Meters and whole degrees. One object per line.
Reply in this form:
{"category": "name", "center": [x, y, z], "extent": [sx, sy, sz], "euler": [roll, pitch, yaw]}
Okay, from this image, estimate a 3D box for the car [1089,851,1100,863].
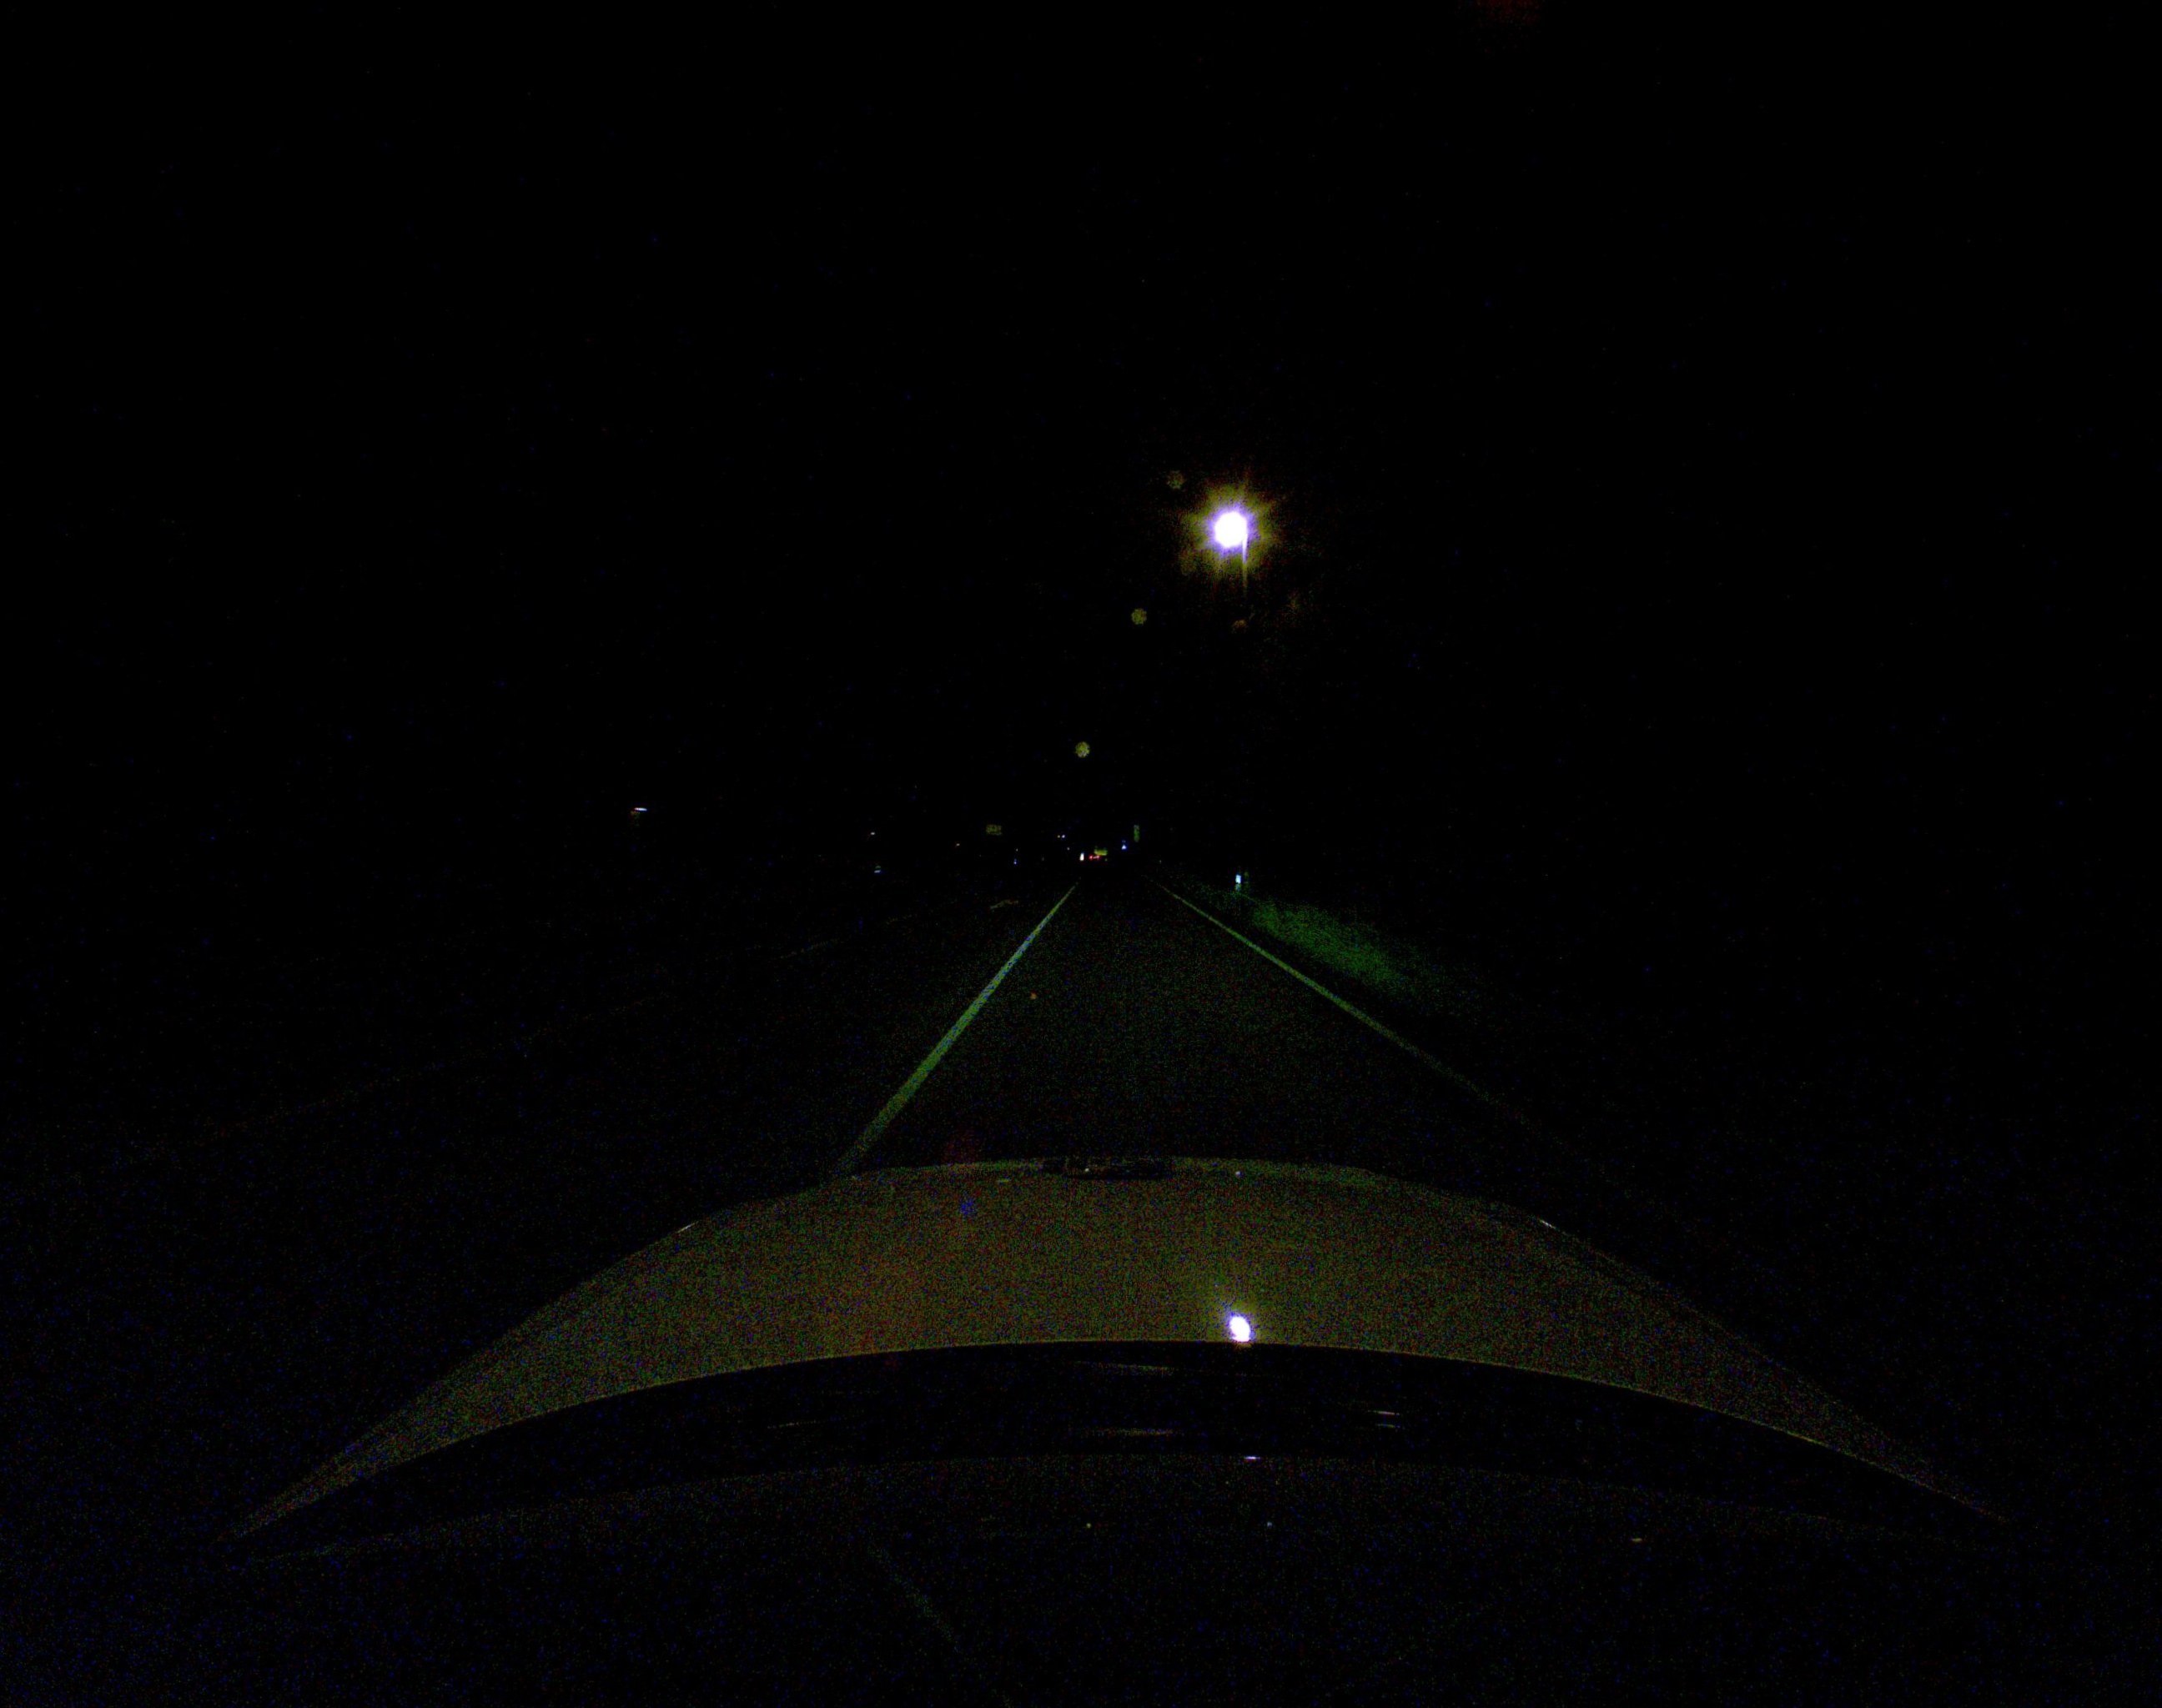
{"category": "car", "center": [2.561, 0.648, 157.292], "extent": [1.987, 2.014, 3.999], "euler": [1, -3, 1]}
